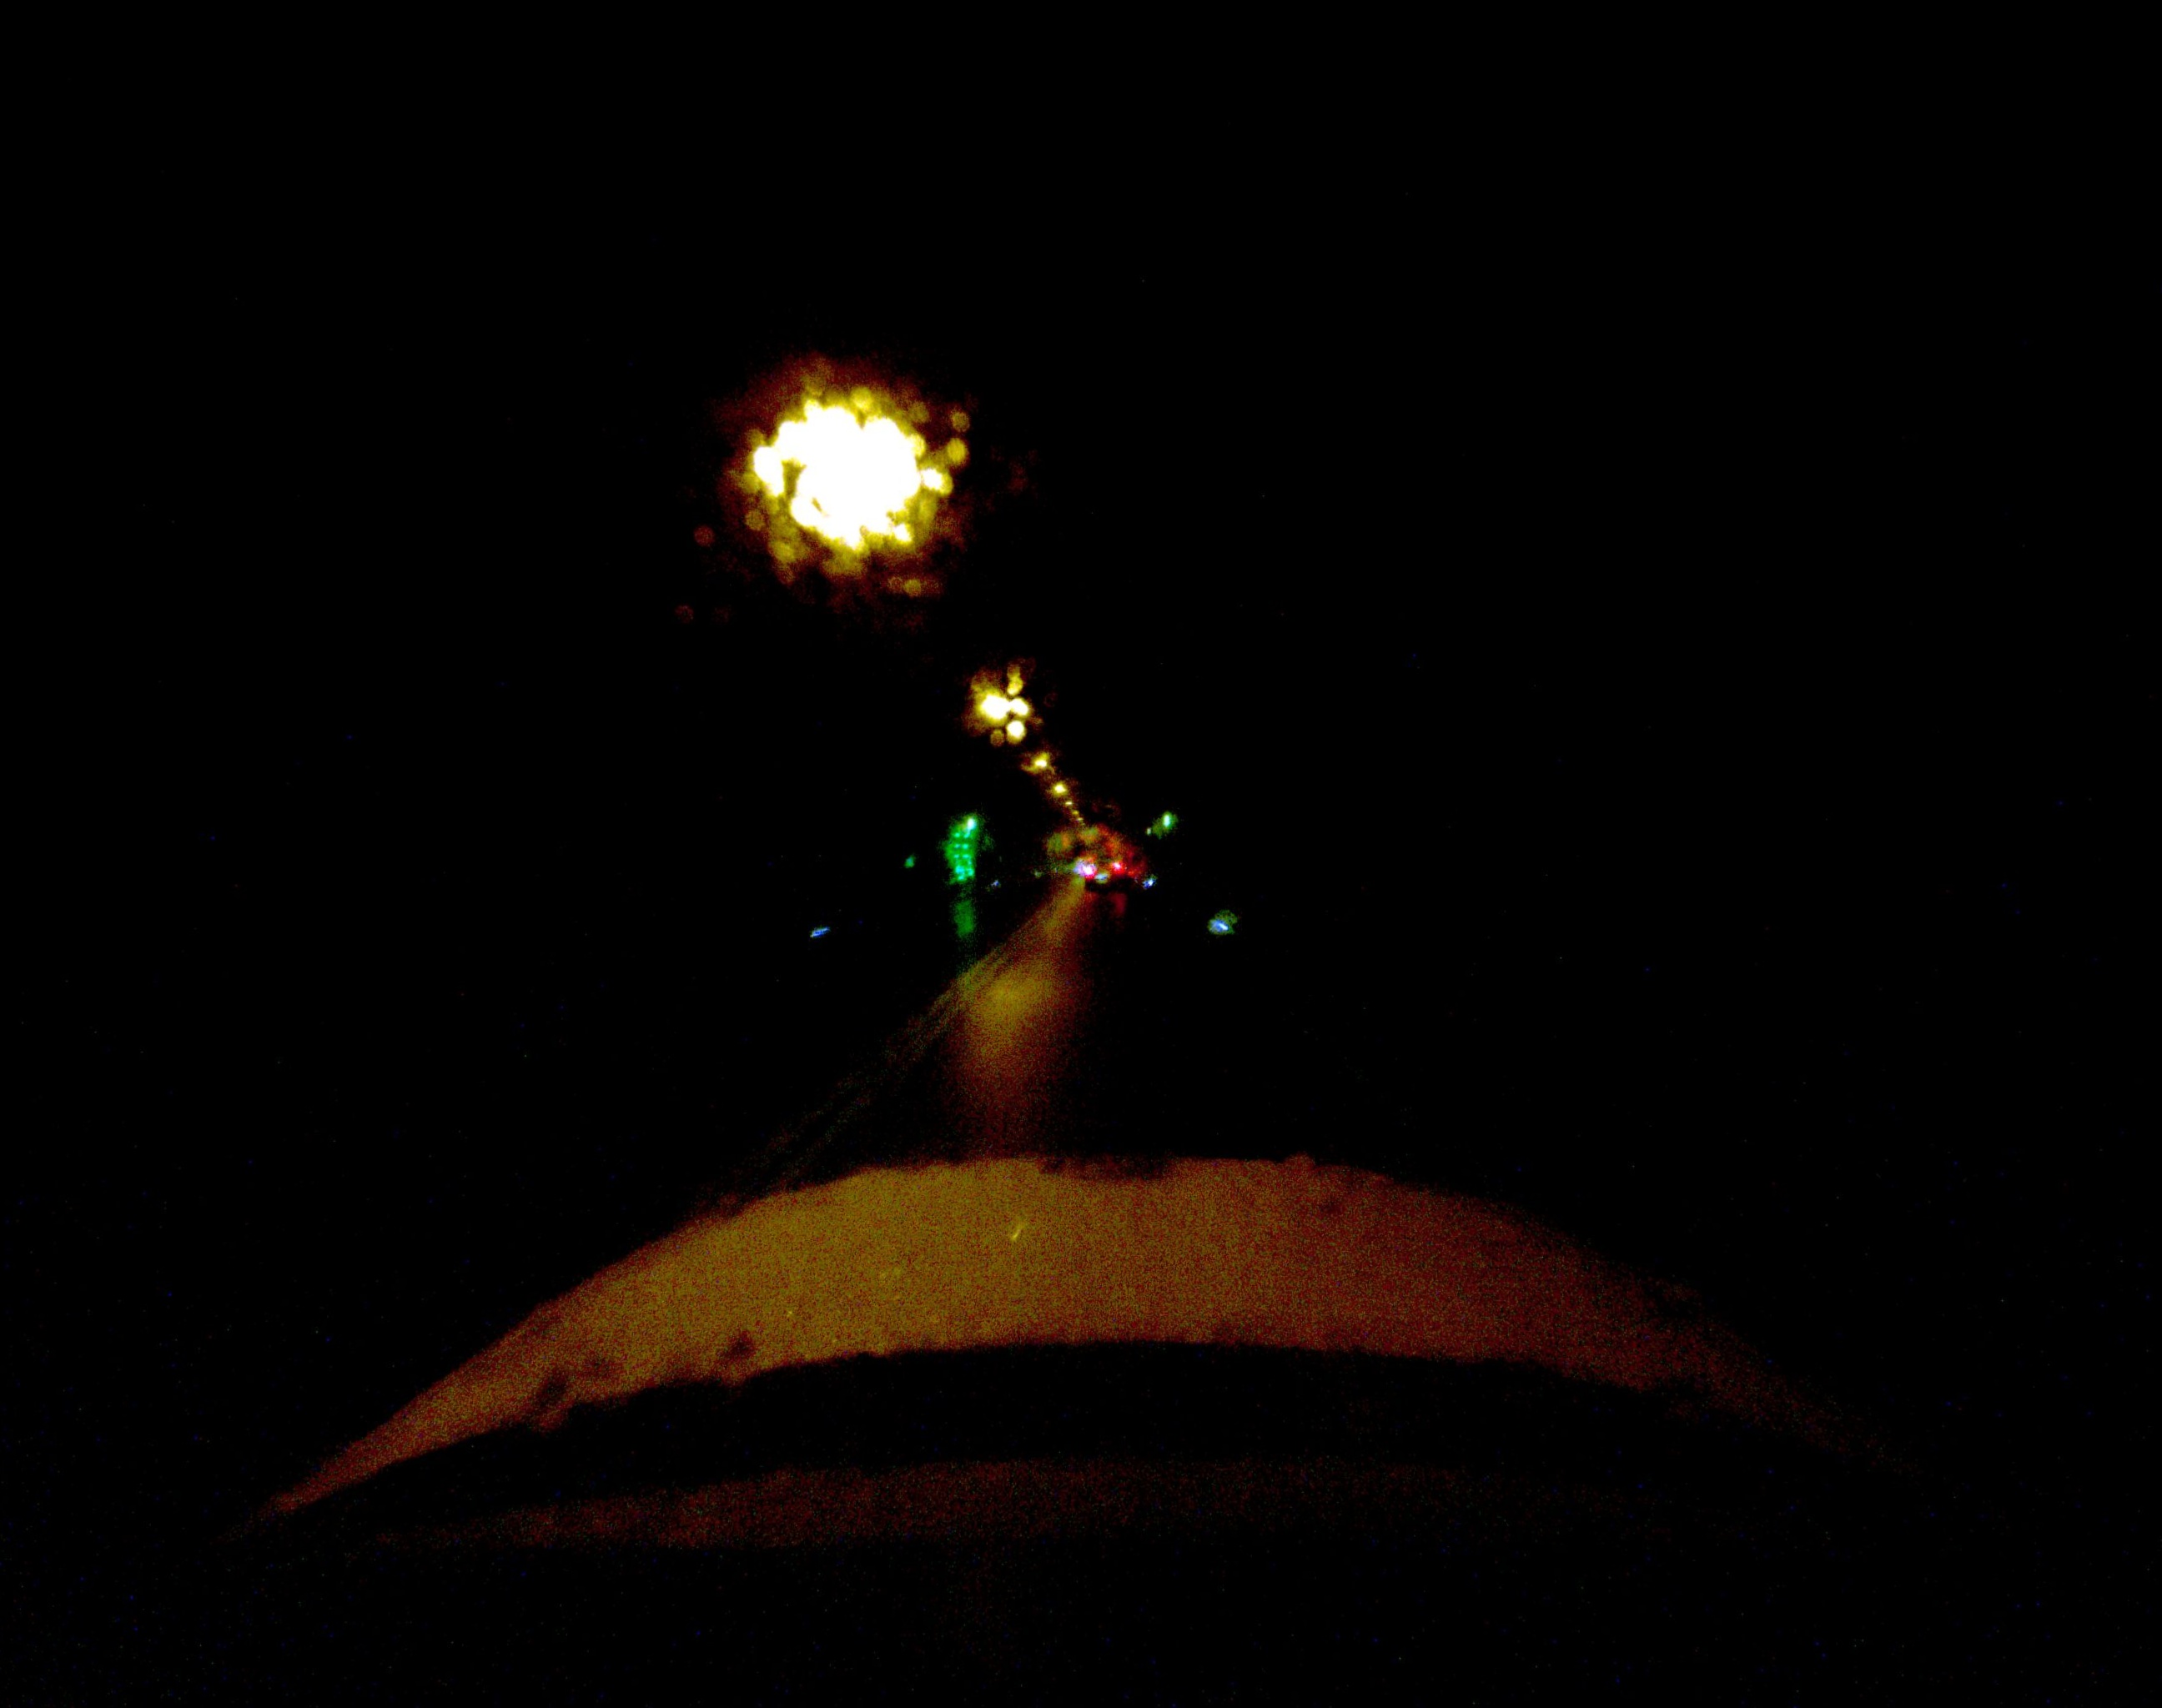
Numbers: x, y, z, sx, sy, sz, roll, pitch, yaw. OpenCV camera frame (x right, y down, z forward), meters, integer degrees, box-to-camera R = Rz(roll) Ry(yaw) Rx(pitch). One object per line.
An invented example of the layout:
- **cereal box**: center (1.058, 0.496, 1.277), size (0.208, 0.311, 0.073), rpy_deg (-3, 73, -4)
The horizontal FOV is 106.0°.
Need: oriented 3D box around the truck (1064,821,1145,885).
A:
- **truck**: center (1.206, -0.041, 41.145), size (3.522, 2.693, 8.960), rpy_deg (-3, 0, 2)
